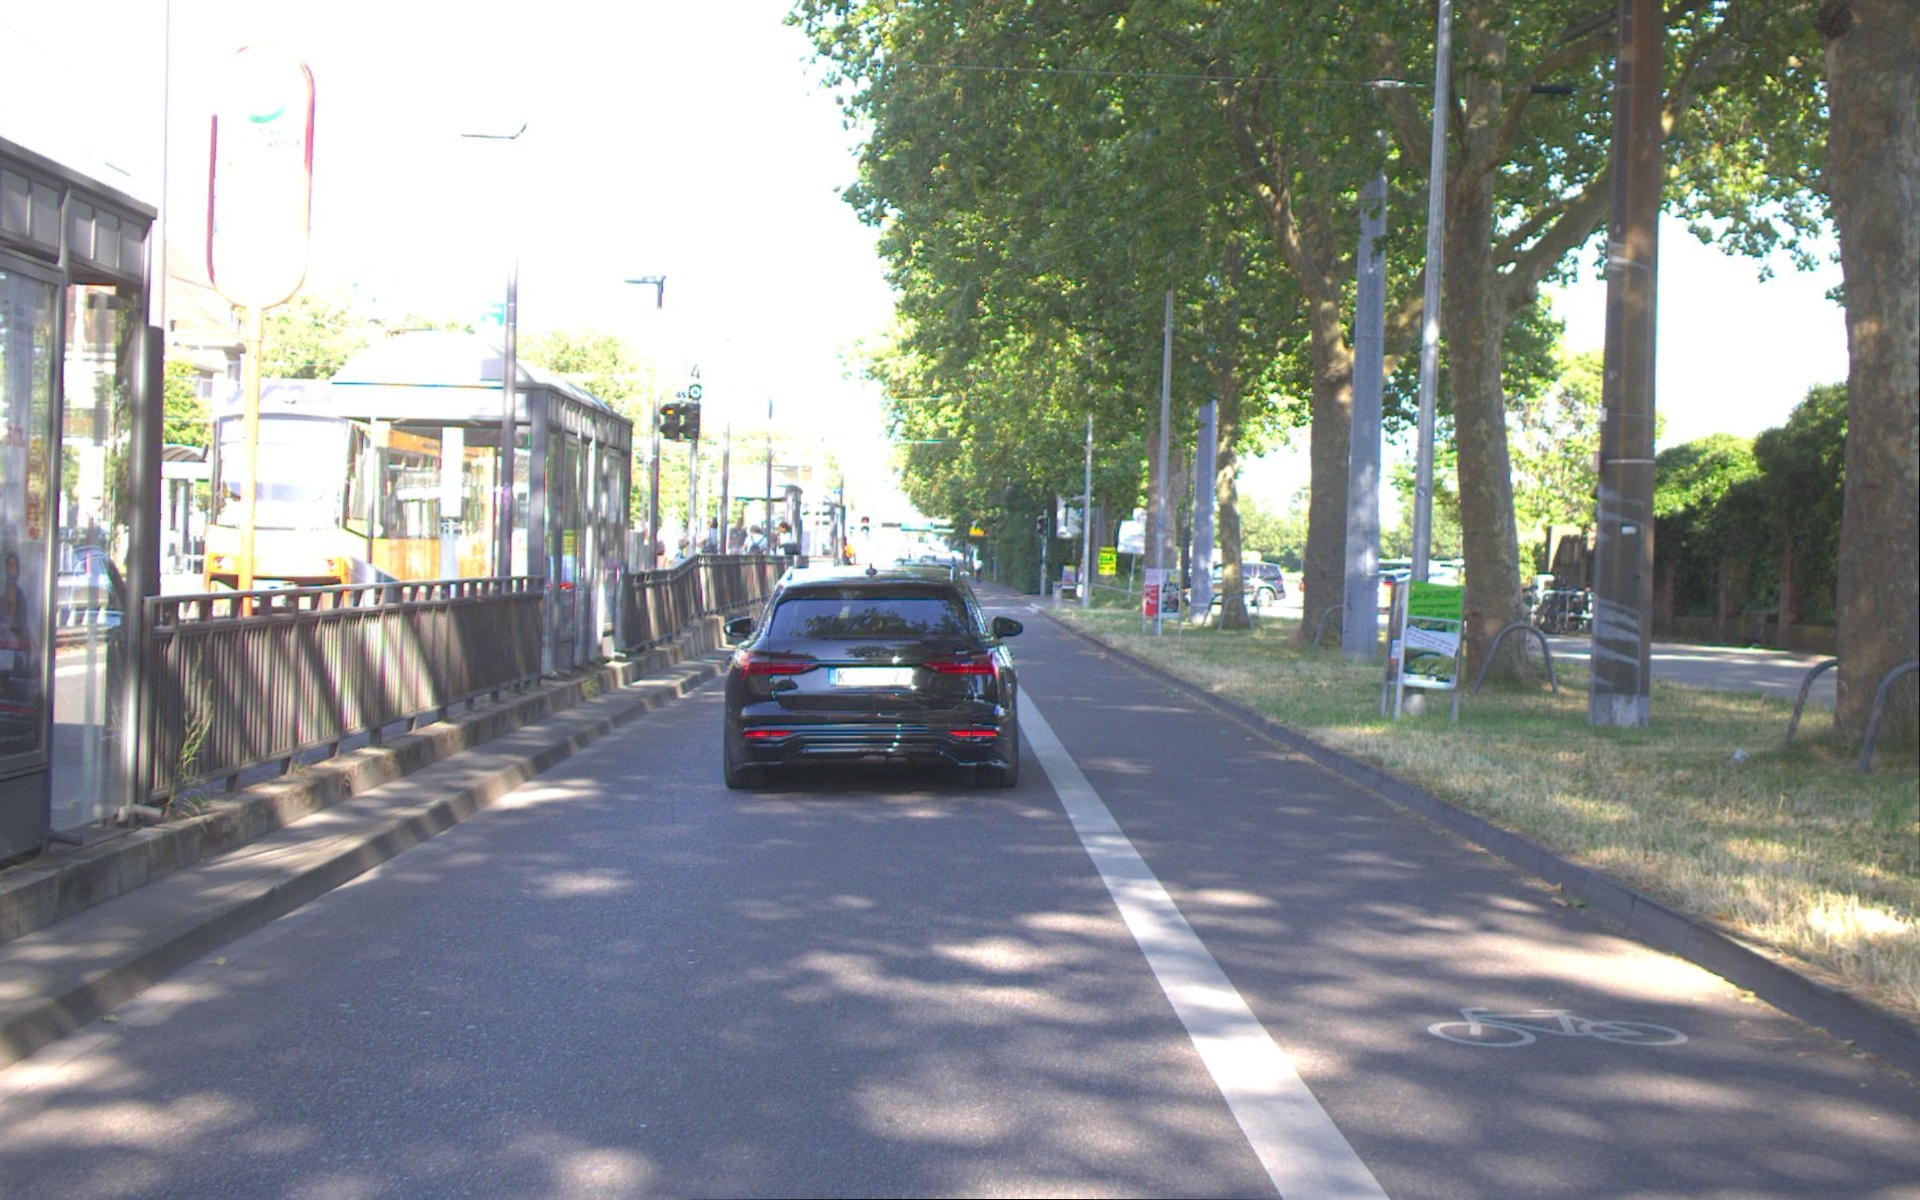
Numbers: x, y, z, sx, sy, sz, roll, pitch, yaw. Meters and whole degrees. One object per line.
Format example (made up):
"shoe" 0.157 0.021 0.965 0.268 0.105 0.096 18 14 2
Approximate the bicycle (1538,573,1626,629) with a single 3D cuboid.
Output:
"bicycle" 12.554 0.021 69.396 1.687 1.116 0.439 0 1 -1

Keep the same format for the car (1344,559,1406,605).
"car" 14.298 -0.649 118.628 1.614 1.510 3.803 2 1 0

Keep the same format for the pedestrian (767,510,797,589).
"pedestrian" -4.085 -1.160 79.000 0.611 1.778 0.613 2 1 0

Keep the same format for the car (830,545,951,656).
"car" -1.118 -0.023 53.677 1.762 1.614 4.001 2 1 -2

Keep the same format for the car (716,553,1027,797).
"car" -0.611 0.436 22.585 1.878 1.452 3.357 0 1 -3

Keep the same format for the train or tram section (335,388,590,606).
"train or tram section" -9.597 -1.925 67.849 3.309 3.816 11.844 2 1 -1

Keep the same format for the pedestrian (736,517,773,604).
"pedestrian" -3.979 -0.767 66.574 0.611 1.663 0.613 2 1 2

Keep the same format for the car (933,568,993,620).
"car" 0.072 -0.202 113.420 1.762 1.614 4.001 2 1 -2

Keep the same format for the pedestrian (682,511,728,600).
"pedestrian" -4.500 -0.778 60.700 0.614 1.543 0.724 2 1 10

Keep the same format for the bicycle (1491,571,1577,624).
"bicycle" 12.459 -0.056 74.633 1.773 1.116 0.439 0 1 -1

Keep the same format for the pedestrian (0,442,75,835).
"pedestrian" -3.962 0.135 13.534 0.746 1.503 0.666 1 1 2

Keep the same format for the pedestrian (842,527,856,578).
"pedestrian" -3.755 -1.615 116.058 0.412 1.711 0.666 2 1 0

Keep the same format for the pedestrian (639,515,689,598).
"pedestrian" -6.464 -0.949 75.037 0.793 1.778 0.649 1 1 -40

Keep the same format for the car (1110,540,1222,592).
"car" 7.621 -1.260 127.342 3.987 1.758 1.833 2 0 1

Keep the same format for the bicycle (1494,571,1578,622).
"bicycle" 12.680 -0.074 75.678 1.773 1.116 0.439 0 1 -1

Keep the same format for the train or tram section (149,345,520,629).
"train or tram section" -9.551 -1.652 54.595 3.309 3.816 14.220 2 1 -1
